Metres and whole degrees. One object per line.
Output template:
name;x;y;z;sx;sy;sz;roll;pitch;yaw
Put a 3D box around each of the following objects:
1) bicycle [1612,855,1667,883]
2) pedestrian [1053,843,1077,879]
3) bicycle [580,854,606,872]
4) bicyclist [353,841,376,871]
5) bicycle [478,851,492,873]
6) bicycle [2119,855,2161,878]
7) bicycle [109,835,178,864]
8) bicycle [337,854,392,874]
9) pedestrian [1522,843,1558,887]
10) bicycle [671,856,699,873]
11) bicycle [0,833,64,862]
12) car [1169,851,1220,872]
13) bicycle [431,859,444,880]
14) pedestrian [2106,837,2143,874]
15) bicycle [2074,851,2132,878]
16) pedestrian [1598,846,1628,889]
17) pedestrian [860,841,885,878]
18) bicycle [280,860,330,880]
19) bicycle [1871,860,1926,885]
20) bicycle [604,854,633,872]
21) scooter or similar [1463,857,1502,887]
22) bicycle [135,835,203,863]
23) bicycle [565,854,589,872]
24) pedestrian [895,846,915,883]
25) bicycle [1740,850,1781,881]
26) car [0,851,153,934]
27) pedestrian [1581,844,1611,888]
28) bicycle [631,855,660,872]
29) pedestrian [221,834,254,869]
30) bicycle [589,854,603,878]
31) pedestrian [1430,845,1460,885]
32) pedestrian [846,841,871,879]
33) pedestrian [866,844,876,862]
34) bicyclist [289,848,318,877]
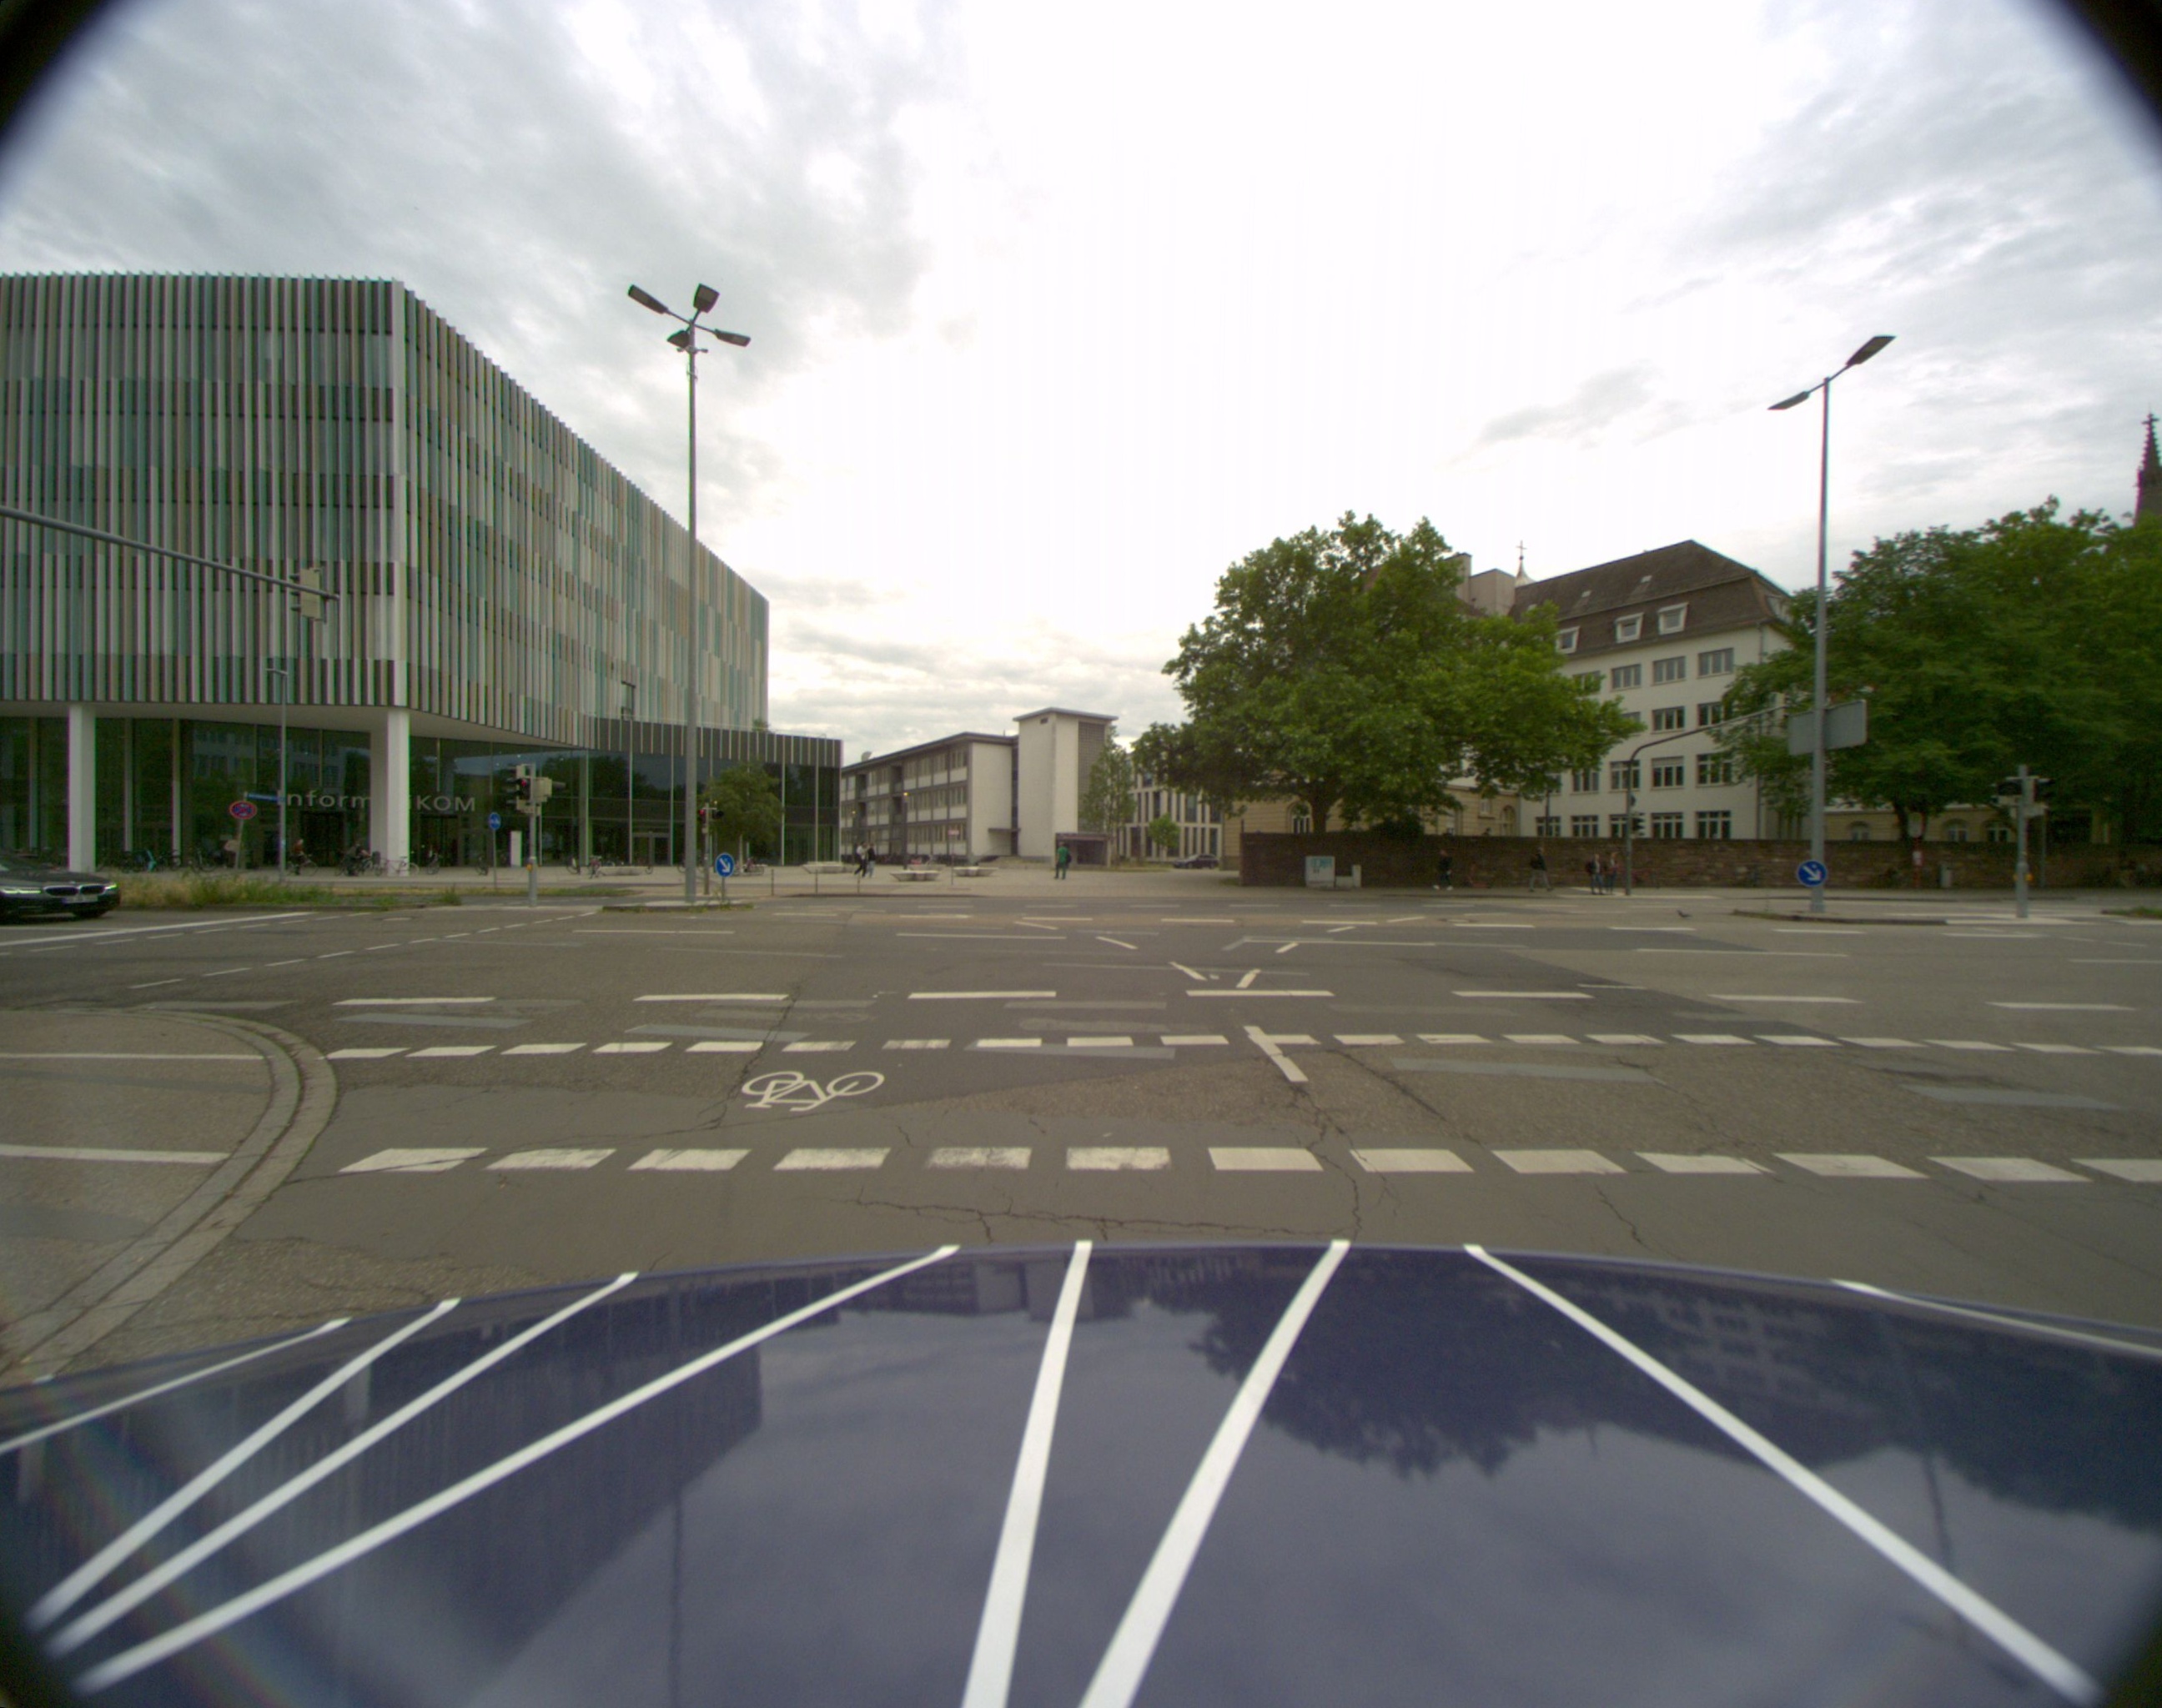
bicycle;24.577;0.662;33.440;2.156;1.178;0.582;0;2;-10
pedestrian;-0.776;0.315;37.177;0.904;1.705;0.952;0;2;18
bicycle;-26.501;0.492;41.238;2.004;0.930;0.550;1;2;38
bicyclist;-34.303;0.096;36.368;0.483;1.460;0.606;0;1;16
bicycle;-30.179;0.408;38.463;0.485;1.039;1.910;-1;2;-40
bicycle;54.099;0.649;38.771;2.249;1.142;0.507;0;2;-14
bicycle;-44.784;-0.197;36.330;0.628;1.251;2.106;-1;-2;3
bicycle;-34.292;0.482;36.414;0.483;0.920;1.918;0;1;16
pedestrian;19.040;0.450;31.527;1.006;1.779;0.757;0;2;-3
bicycle;-23.182;0.587;44.484;2.004;0.930;0.485;1;2;30
bicycle;-50.329;-0.286;36.283;0.628;1.251;2.106;-1;-2;3
car;10.542;0.676;70.542;4.410;1.570;1.998;-1;-9;-35
bicycle;-33.169;0.782;39.173;0.485;1.039;1.911;0;1;-40
pedestrian;50.544;0.078;36.808;0.773;1.749;0.790;0;1;-14
bicycle;50.442;0.516;37.512;2.543;1.258;0.664;0;2;-12
pedestrian;21.462;0.541;30.666;0.642;1.684;0.779;0;2;-2
pedestrian;-10.099;0.246;36.782;0.848;1.778;0.892;0;1;-44
bicycle;-36.549;0.734;35.773;1.913;0.920;0.619;0;1;8
bicycle;37.953;0.857;35.286;2.157;1.142;0.664;0;2;-12
bicycle;-25.382;0.497;41.700;2.004;0.930;0.485;1;2;30
scooter or similar;17.391;0.765;32.954;1.410;1.223;0.495;1;3;17
bicycle;-43.569;-0.216;36.351;0.628;1.251;2.106;-1;-2;3
bicycle;-27.011;0.480;40.699;2.004;0.930;0.485;1;2;38
pedestrian;-7.951;0.467;34.367;0.622;1.656;0.620;0;1;42
bicycle;31.154;0.500;34.823;2.590;1.372;0.668;0;1;-31
car;-21.528;0.703;14.793;4.289;1.481;1.999;0;2;-2
pedestrian;20.752;0.485;30.622;0.670;1.729;0.735;0;2;-4
bicycle;-24.460;0.519;42.688;2.004;0.930;0.485;1;2;30
pedestrian;-43.413;-0.117;39.118;0.762;1.778;0.802;1;1;0
bicycle;-22.300;0.523;34.957;0.485;1.039;1.779;0;1;-30
pedestrian;15.322;0.442;32.004;0.808;1.655;0.791;0;3;-1
pedestrian;-10.633;0.266;36.314;0.848;1.778;0.892;-1;1;-44
pedestrian;-21.097;-0.081;76.360;0.777;1.778;0.759;0;1;-35
bicyclist;-36.590;0.391;35.757;0.717;1.374;0.619;0;1;8
